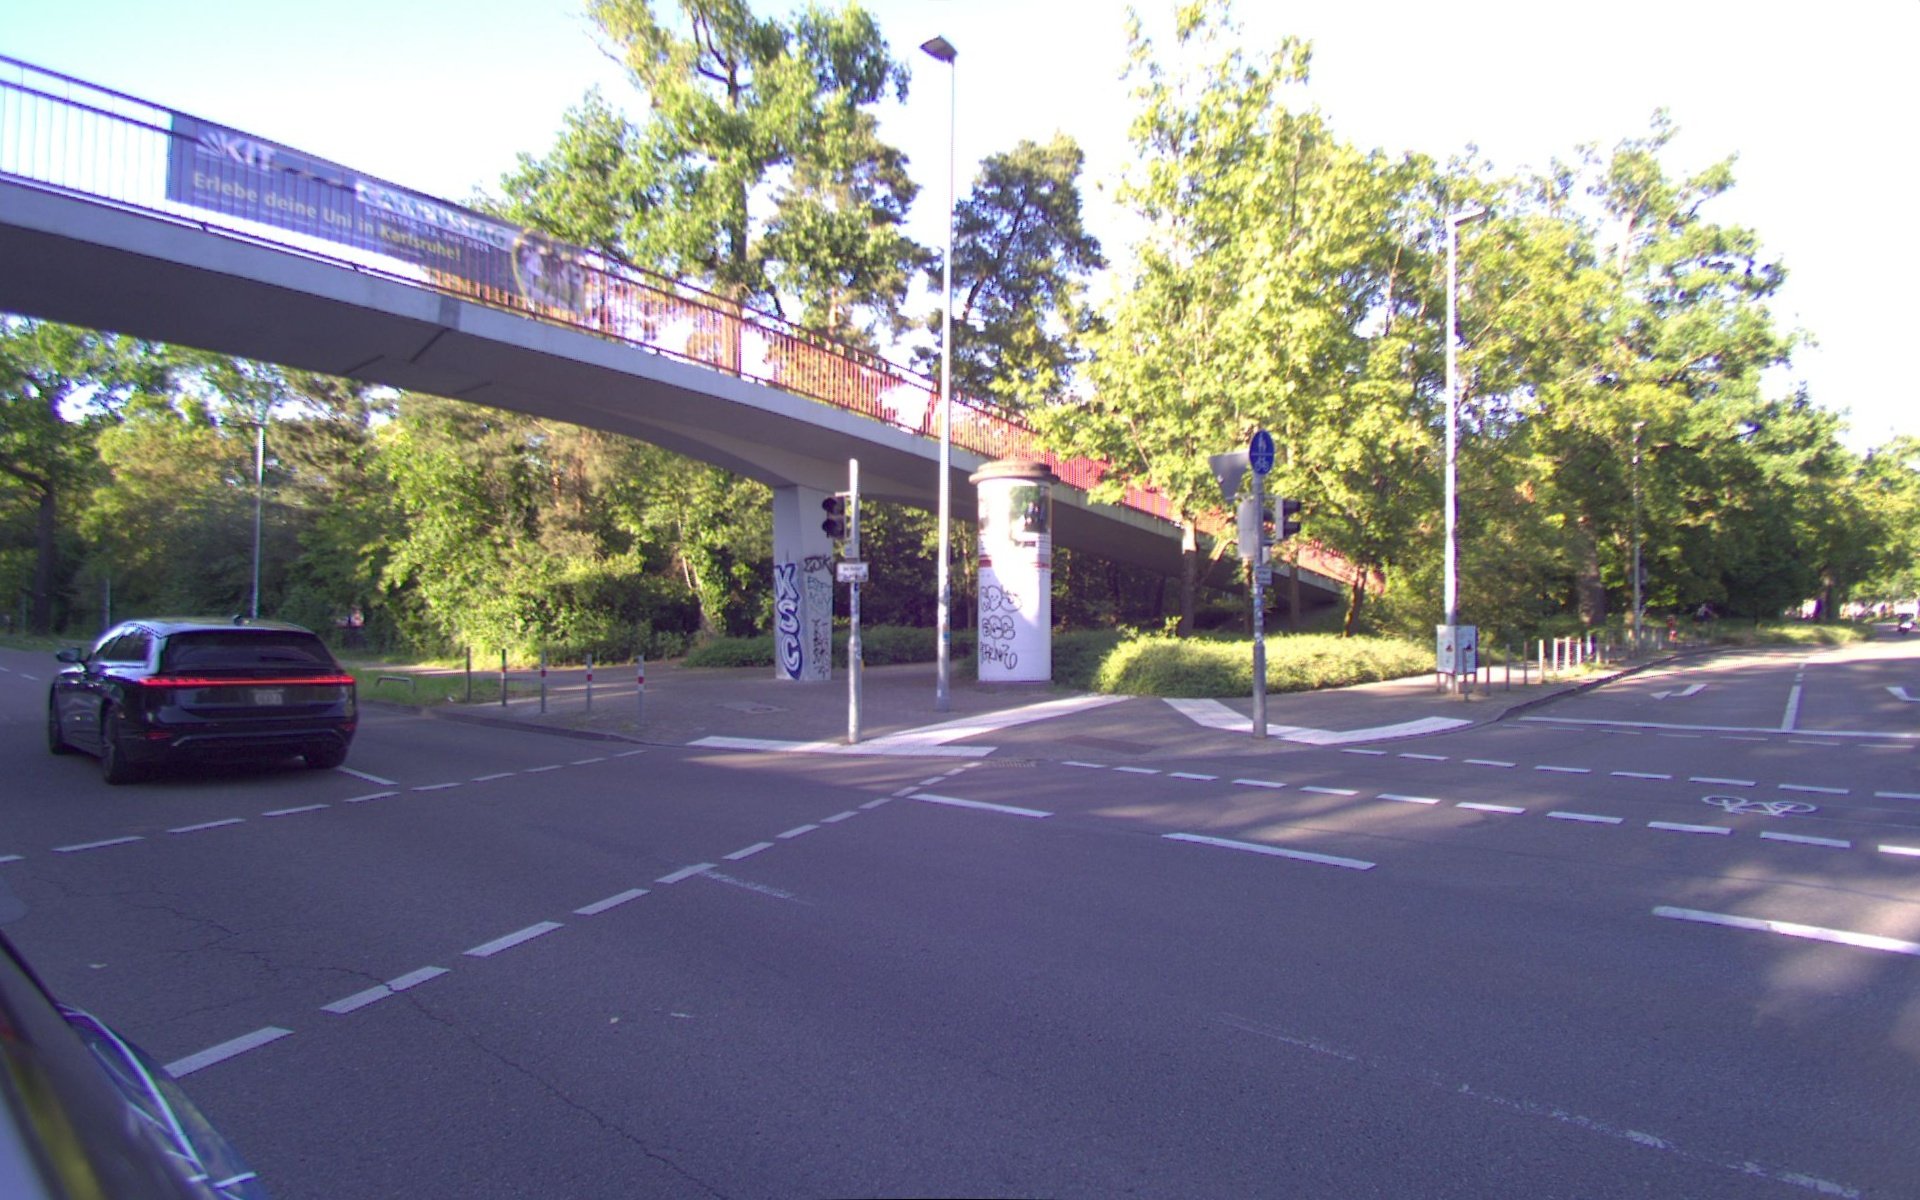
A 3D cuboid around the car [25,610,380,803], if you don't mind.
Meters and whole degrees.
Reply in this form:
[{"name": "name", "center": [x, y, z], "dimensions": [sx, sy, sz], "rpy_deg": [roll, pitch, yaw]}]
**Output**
[{"name": "car", "center": [-7.822, 0.881, 10.272], "dimensions": [4.645, 1.517, 1.940], "rpy_deg": [0, -2, 41]}]
